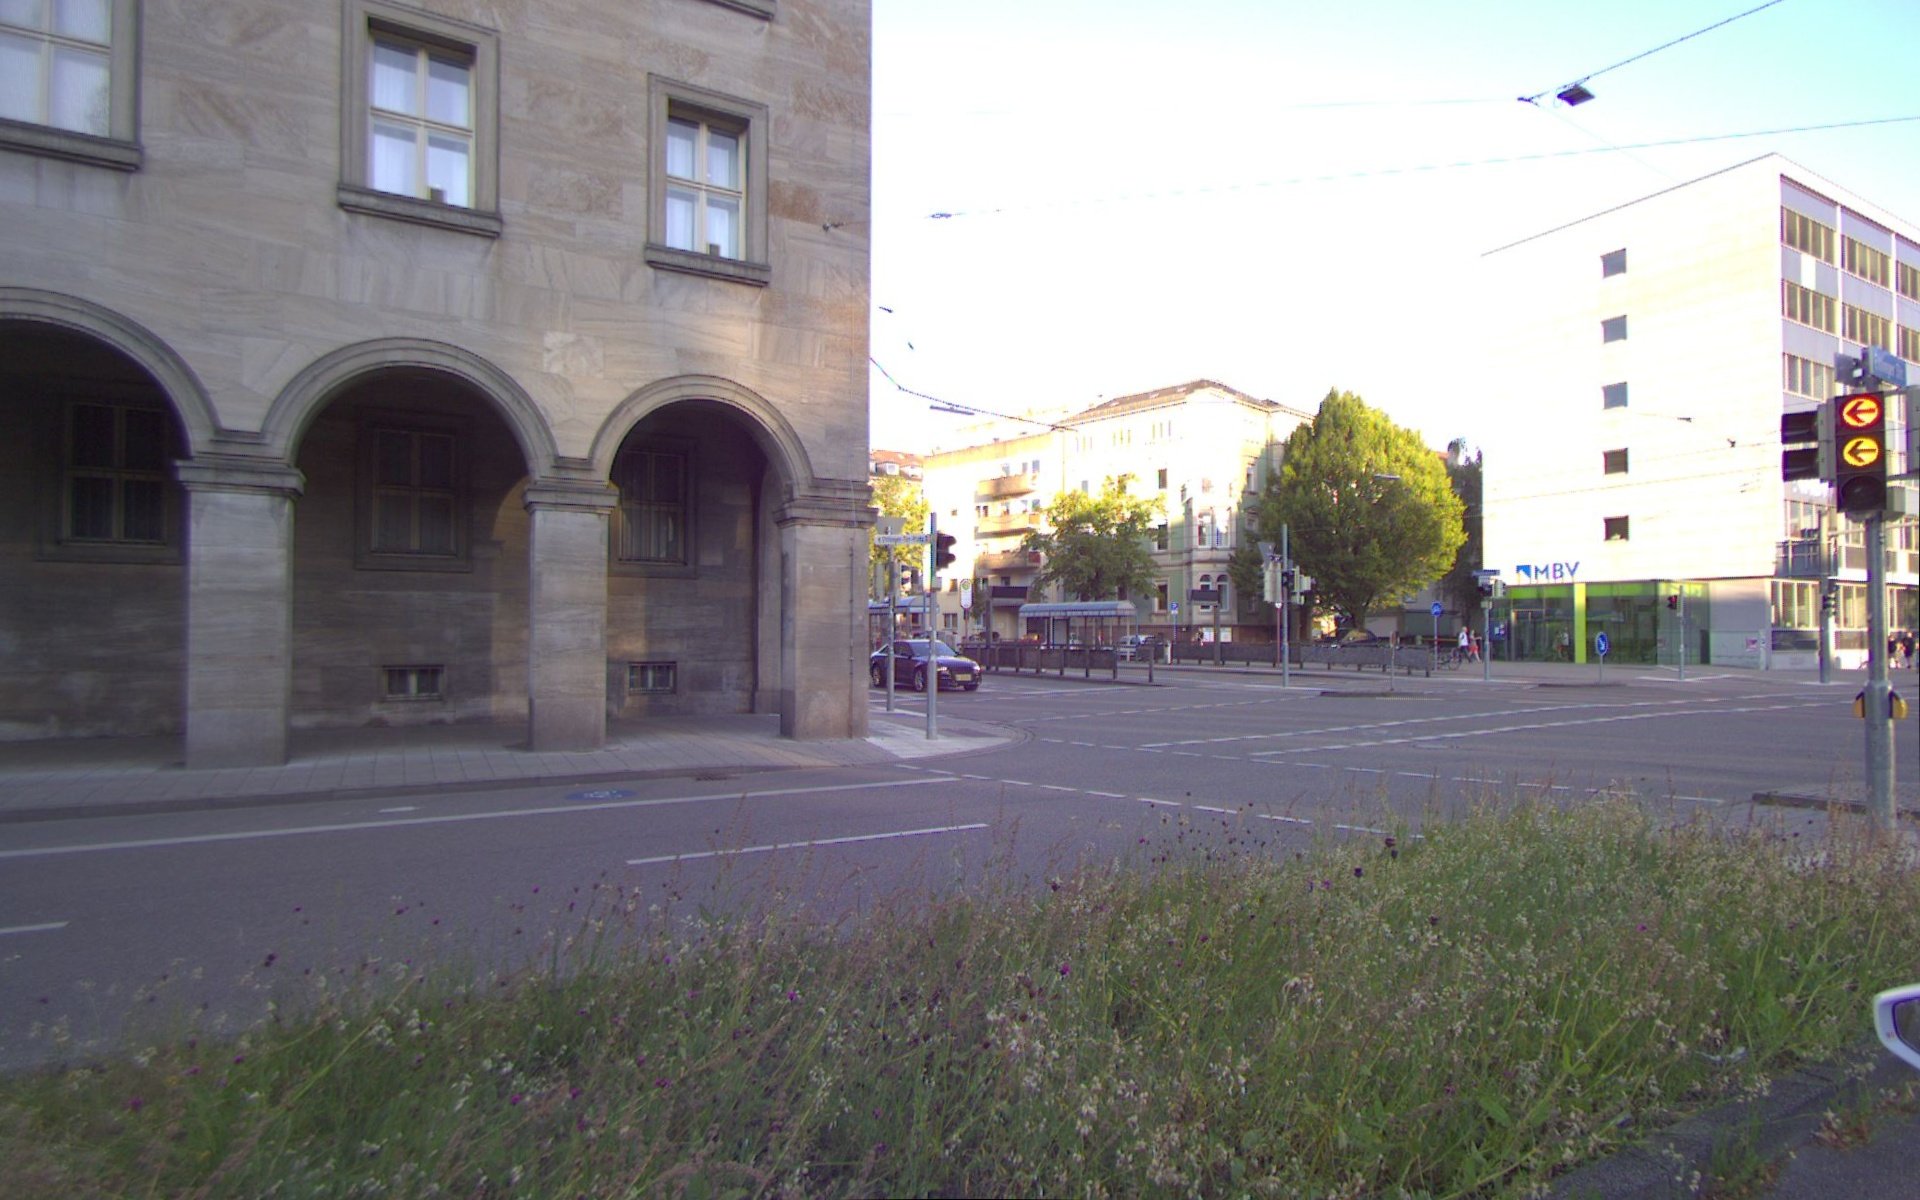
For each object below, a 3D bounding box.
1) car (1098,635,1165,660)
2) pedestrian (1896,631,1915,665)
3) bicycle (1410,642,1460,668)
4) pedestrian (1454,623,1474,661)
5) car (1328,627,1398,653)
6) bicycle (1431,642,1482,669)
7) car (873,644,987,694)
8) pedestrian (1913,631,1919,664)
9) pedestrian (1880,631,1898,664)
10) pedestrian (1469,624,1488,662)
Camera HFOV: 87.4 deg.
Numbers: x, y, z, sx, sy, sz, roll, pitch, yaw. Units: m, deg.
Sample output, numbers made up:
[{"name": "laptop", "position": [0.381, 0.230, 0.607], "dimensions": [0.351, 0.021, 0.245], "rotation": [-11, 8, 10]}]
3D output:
[{"name": "car", "position": [10.080, 2.764, 59.146], "dimensions": [3.545, 1.390, 1.830], "rotation": [-2, -3, 45]}, {"name": "pedestrian", "position": [48.327, 2.452, 51.337], "dimensions": [0.494, 1.701, 0.549], "rotation": [1, -2, -30]}, {"name": "bicycle", "position": [20.997, 2.422, 44.376], "dimensions": [2.183, 1.127, 0.834], "rotation": [1, -2, -26]}, {"name": "pedestrian", "position": [24.381, 2.049, 48.591], "dimensions": [0.718, 1.813, 0.634], "rotation": [2, -2, -44]}, {"name": "car", "position": [22.099, 2.184, 55.028], "dimensions": [3.553, 1.390, 1.826], "rotation": [1, -2, -32]}, {"name": "bicycle", "position": [21.581, 2.416, 43.649], "dimensions": [2.183, 1.127, 0.834], "rotation": [1, -2, -26]}, {"name": "car", "position": [-0.955, 1.982, 29.722], "dimensions": [1.791, 1.344, 4.120], "rotation": [1, -2, -27]}, {"name": "pedestrian", "position": [48.596, 2.400, 50.760], "dimensions": [0.494, 1.701, 0.498], "rotation": [1, -2, -30]}, {"name": "pedestrian", "position": [47.464, 2.426, 51.323], "dimensions": [0.494, 1.701, 0.549], "rotation": [1, -2, -30]}, {"name": "pedestrian", "position": [25.185, 2.071, 48.802], "dimensions": [0.718, 1.813, 0.634], "rotation": [2, -2, -43]}]
